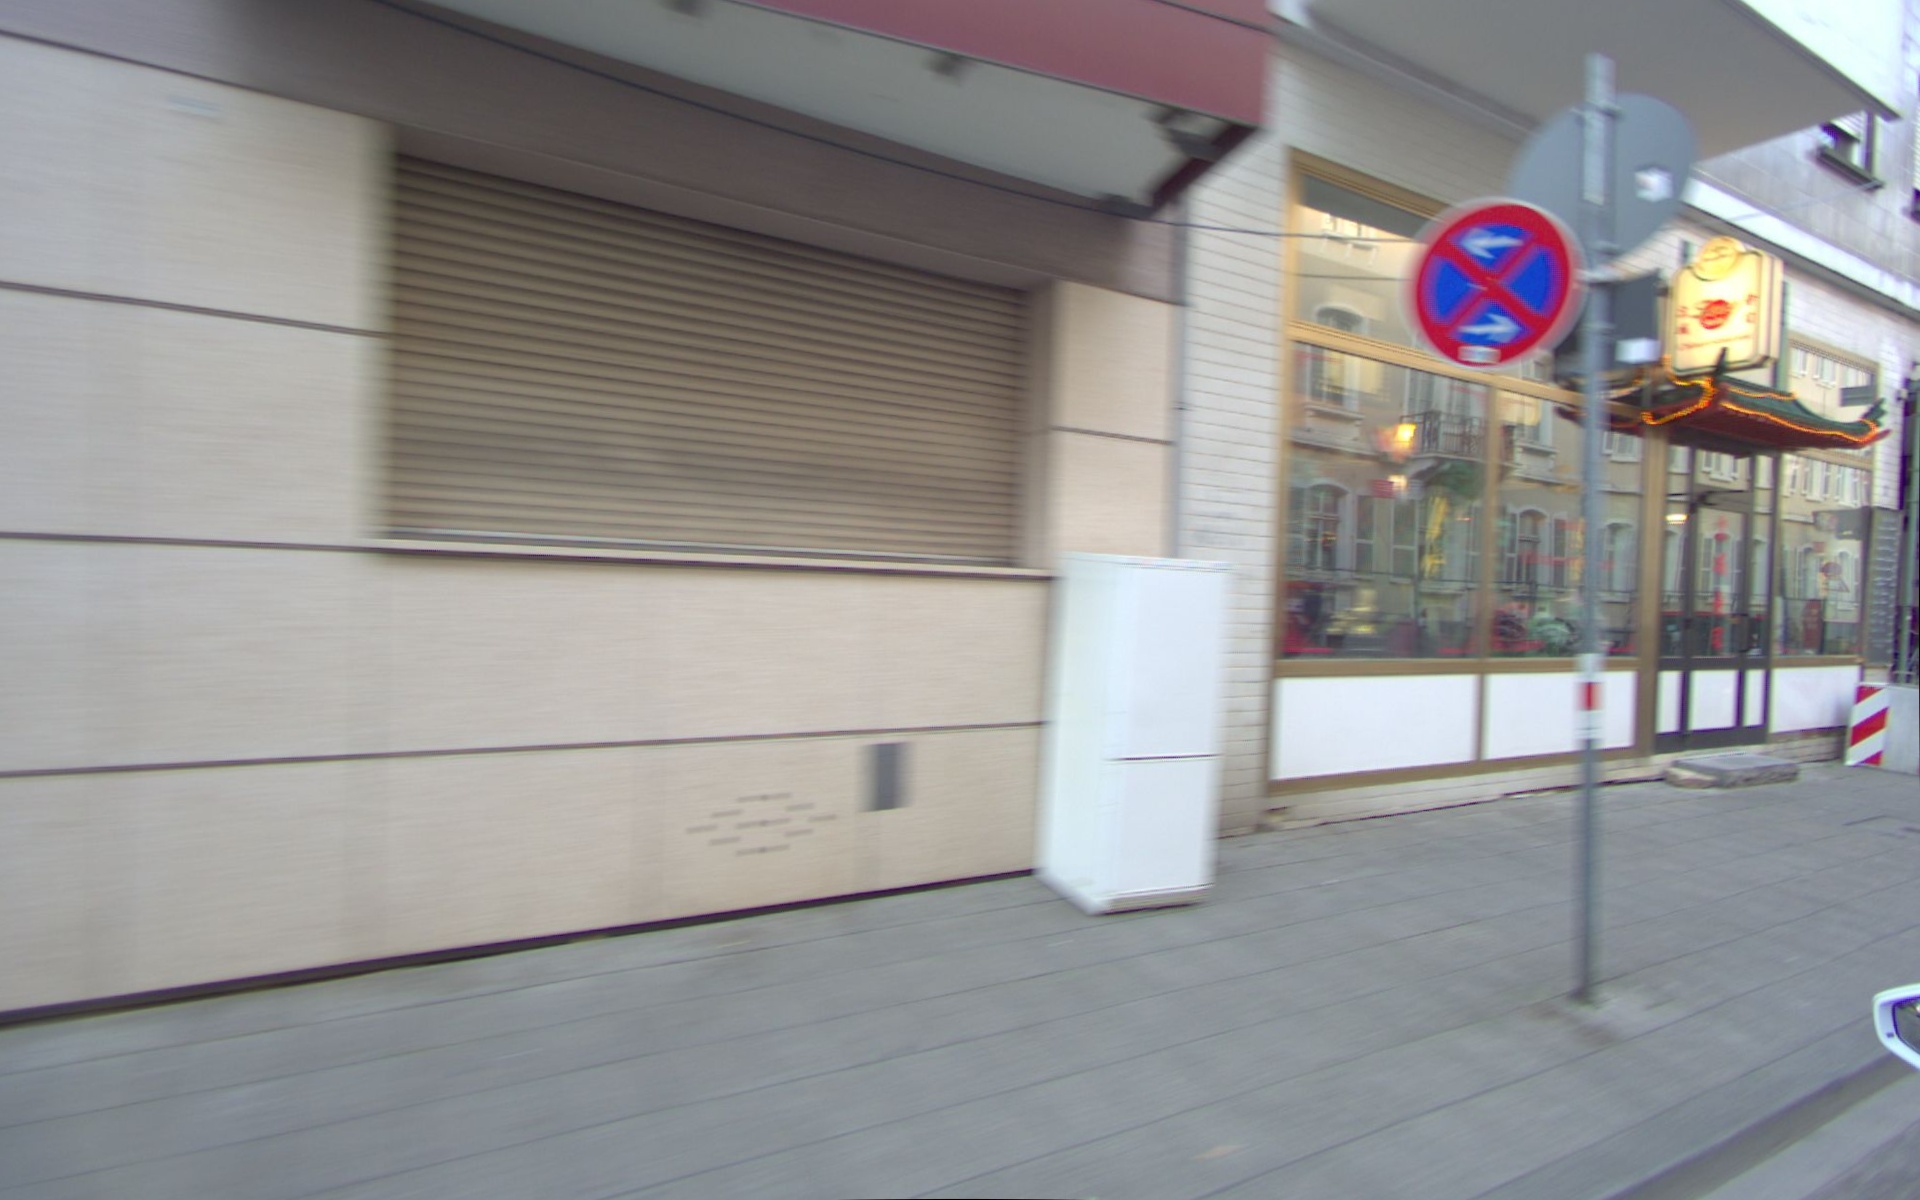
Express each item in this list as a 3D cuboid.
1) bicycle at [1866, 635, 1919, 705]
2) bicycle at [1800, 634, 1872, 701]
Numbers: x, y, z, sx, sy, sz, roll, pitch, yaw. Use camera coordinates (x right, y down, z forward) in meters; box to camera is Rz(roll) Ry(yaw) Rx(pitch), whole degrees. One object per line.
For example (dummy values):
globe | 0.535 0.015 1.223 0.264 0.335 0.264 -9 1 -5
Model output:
bicycle | 14.466 1.060 15.468 1.486 0.974 0.375 0 2 -34
bicycle | 13.898 1.047 15.919 1.777 0.974 0.375 0 2 -34
